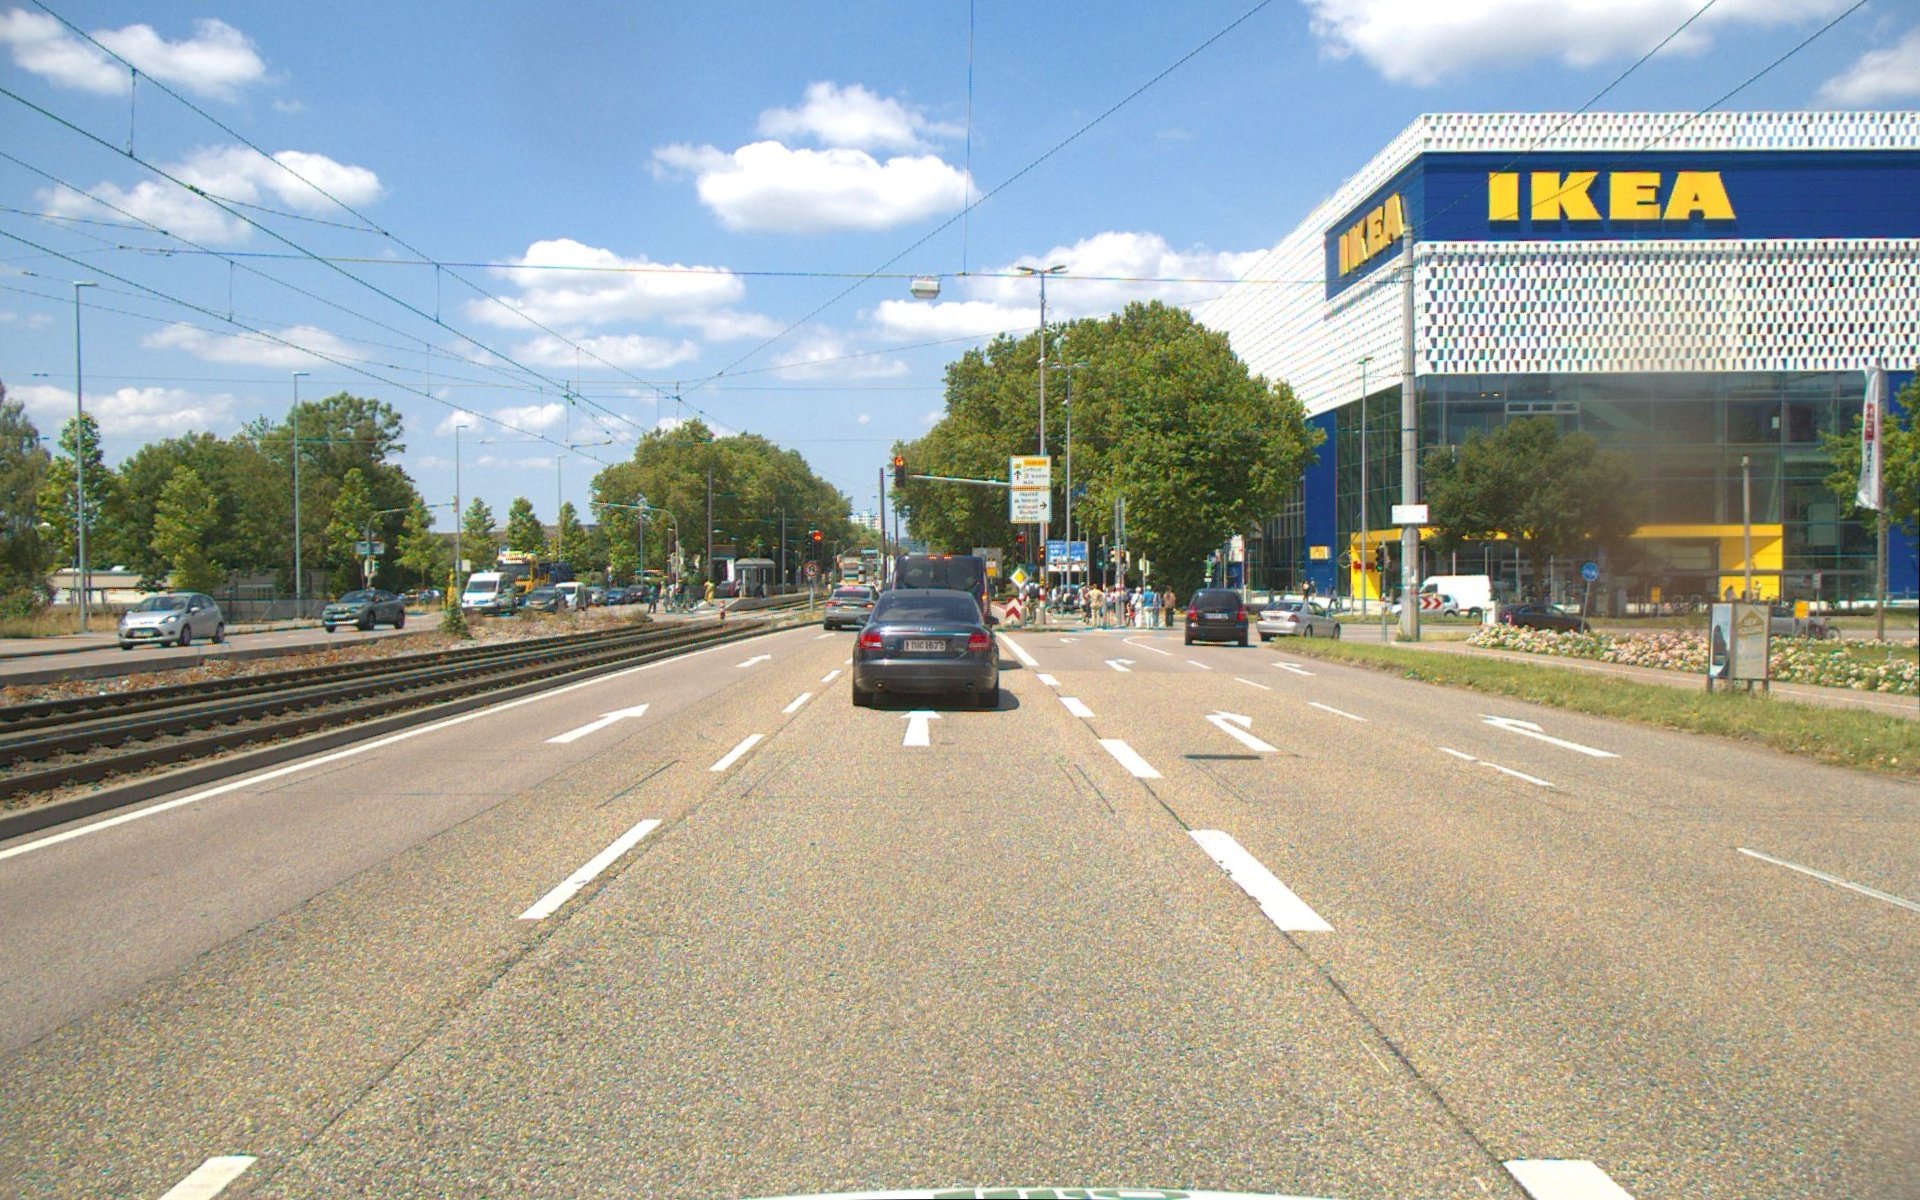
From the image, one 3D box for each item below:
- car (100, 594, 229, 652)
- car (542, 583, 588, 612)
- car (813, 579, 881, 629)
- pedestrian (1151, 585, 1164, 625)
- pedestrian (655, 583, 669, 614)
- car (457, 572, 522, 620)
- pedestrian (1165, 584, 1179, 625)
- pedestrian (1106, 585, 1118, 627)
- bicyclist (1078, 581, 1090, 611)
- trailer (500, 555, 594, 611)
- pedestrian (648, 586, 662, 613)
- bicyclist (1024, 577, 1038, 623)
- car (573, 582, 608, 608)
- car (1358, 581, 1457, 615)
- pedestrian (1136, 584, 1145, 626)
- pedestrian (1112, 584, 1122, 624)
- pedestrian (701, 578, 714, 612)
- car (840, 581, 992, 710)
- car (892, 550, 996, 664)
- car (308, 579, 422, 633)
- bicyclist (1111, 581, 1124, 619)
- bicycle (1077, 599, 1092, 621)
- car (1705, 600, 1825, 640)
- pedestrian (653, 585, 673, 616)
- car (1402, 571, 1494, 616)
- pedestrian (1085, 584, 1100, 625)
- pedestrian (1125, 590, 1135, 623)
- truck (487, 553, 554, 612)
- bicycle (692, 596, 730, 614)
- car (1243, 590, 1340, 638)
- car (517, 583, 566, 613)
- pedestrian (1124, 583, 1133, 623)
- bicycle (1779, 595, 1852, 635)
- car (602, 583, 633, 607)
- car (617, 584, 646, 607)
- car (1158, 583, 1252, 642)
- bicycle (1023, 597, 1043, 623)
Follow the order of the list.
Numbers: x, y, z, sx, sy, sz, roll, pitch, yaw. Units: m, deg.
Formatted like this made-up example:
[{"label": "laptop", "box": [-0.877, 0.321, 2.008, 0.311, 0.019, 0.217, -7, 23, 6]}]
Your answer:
[{"label": "car", "box": [-21.585, 0.591, 45.041, 1.786, 1.440, 3.881, -2, 1, -4]}, {"label": "car", "box": [-25.042, -0.181, 105.026, 1.785, 1.699, 4.462, 1, 1, 1]}, {"label": "car", "box": [-3.652, 0.088, 54.139, 1.953, 1.512, 4.000, 2, 1, -1]}, {"label": "pedestrian", "box": [8.219, 0.220, 68.846, 0.493, 1.663, 0.449, 1, 0, 2]}, {"label": "pedestrian", "box": [-16.135, -0.081, 89.533, 0.671, 1.666, 0.572, 0, 0, -4]}, {"label": "car", "box": [-27.788, -0.257, 97.888, 2.198, 2.634, 6.233, -2, 1, -2]}, {"label": "pedestrian", "box": [8.825, 0.200, 68.845, 0.510, 1.699, 0.494, 1, 0, 2]}, {"label": "pedestrian", "box": [6.117, 0.234, 66.666, 0.435, 1.663, 0.430, 1, 0, 2]}, {"label": "bicyclist", "box": [5.166, -0.172, 68.775, 0.461, 1.214, 0.791, 0, 0, 2]}, {"label": "trailer", "box": [-28.378, -1.181, 114.515, 2.711, 3.580, 15.875, 1, 0, -1]}, {"label": "pedestrian", "box": [-16.636, -0.024, 90.328, 0.671, 1.468, 0.572, 0, 0, -4]}, {"label": "bicyclist", "box": [2.879, -0.006, 66.985, 0.518, 1.820, 1.088, 0, 0, 0]}, {"label": "car", "box": [-28.148, -0.359, 126.033, 1.781, 1.916, 3.999, 1, 0, -1]}, {"label": "car", "box": [22.090, -0.102, 81.777, 4.403, 1.512, 2.001, 2, 1, 3]}, {"label": "pedestrian", "box": [7.282, 0.207, 66.694, 0.314, 1.663, 0.377, 1, 0, 2]}, {"label": "pedestrian", "box": [6.528, 0.151, 68.898, 0.373, 1.663, 0.377, 1, 0, 2]}, {"label": "pedestrian", "box": [-14.961, -0.299, 98.058, 0.672, 2.049, 0.572, 0, 0, -5]}, {"label": "car", "box": [-0.533, 0.507, 21.315, 1.756, 1.480, 4.000, -1, 1, -1]}, {"label": "car", "box": [-0.312, 0.110, 30.943, 1.799, 1.984, 3.999, 0, 0, -1]}, {"label": "car", "box": [-22.794, 0.215, 63.516, 1.951, 1.951, 4.414, 2, 1, 14]}, {"label": "bicyclist", "box": [7.512, 0.008, 78.834, 0.517, 1.795, 0.828, 0, 0, 13]}, {"label": "bicycle", "box": [5.174, 0.421, 68.785, 0.538, 0.892, 1.698, 1, 0, 2]}, {"label": "car", "box": [33.793, 0.823, 69.477, 4.047, 1.512, 2.000, 2, 1, 0]}, {"label": "pedestrian", "box": [-16.728, 0.015, 93.193, 0.806, 1.750, 0.775, 1, 0, 21]}, {"label": "car", "box": [26.347, -0.383, 89.381, 4.659, 2.349, 2.001, 1, 0, 16]}, {"label": "pedestrian", "box": [5.348, 0.182, 66.716, 0.542, 1.663, 0.433, 1, 0, 2]}, {"label": "pedestrian", "box": [6.880, 0.248, 66.784, 0.365, 1.326, 0.365, 1, 0, 2]}, {"label": "truck", "box": [-28.244, -1.121, 106.533, 2.711, 3.631, 6.438, 1, 0, -1]}, {"label": "bicycle", "box": [-13.569, 0.294, 90.151, 2.019, 0.941, 0.751, 1, 0, -11]}, {"label": "car", "box": [11.336, 0.469, 56.417, 1.957, 1.512, 4.157, 2, 1, 31]}, {"label": "car", "box": [-24.682, -0.136, 97.667, 1.785, 1.699, 4.461, 1, 1, -1]}, {"label": "pedestrian", "box": [6.996, 0.139, 68.847, 0.332, 1.663, 0.377, 1, 0, 2]}, {"label": "bicycle", "box": [34.033, 0.592, 65.813, 2.372, 1.507, 0.989, 1, 0, 4]}, {"label": "car", "box": [-28.059, -0.398, 135.682, 1.781, 1.916, 3.999, 1, 0, -1]}, {"label": "car", "box": [-28.061, -0.417, 141.312, 1.781, 1.916, 3.999, 1, 0, -1]}, {"label": "car", "box": [6.815, 0.316, 46.401, 1.953, 1.512, 4.000, 2, 1, -1]}, {"label": "bicycle", "box": [2.948, 0.385, 67.343, 0.673, 1.011, 2.751, 1, 0, 0]}]
